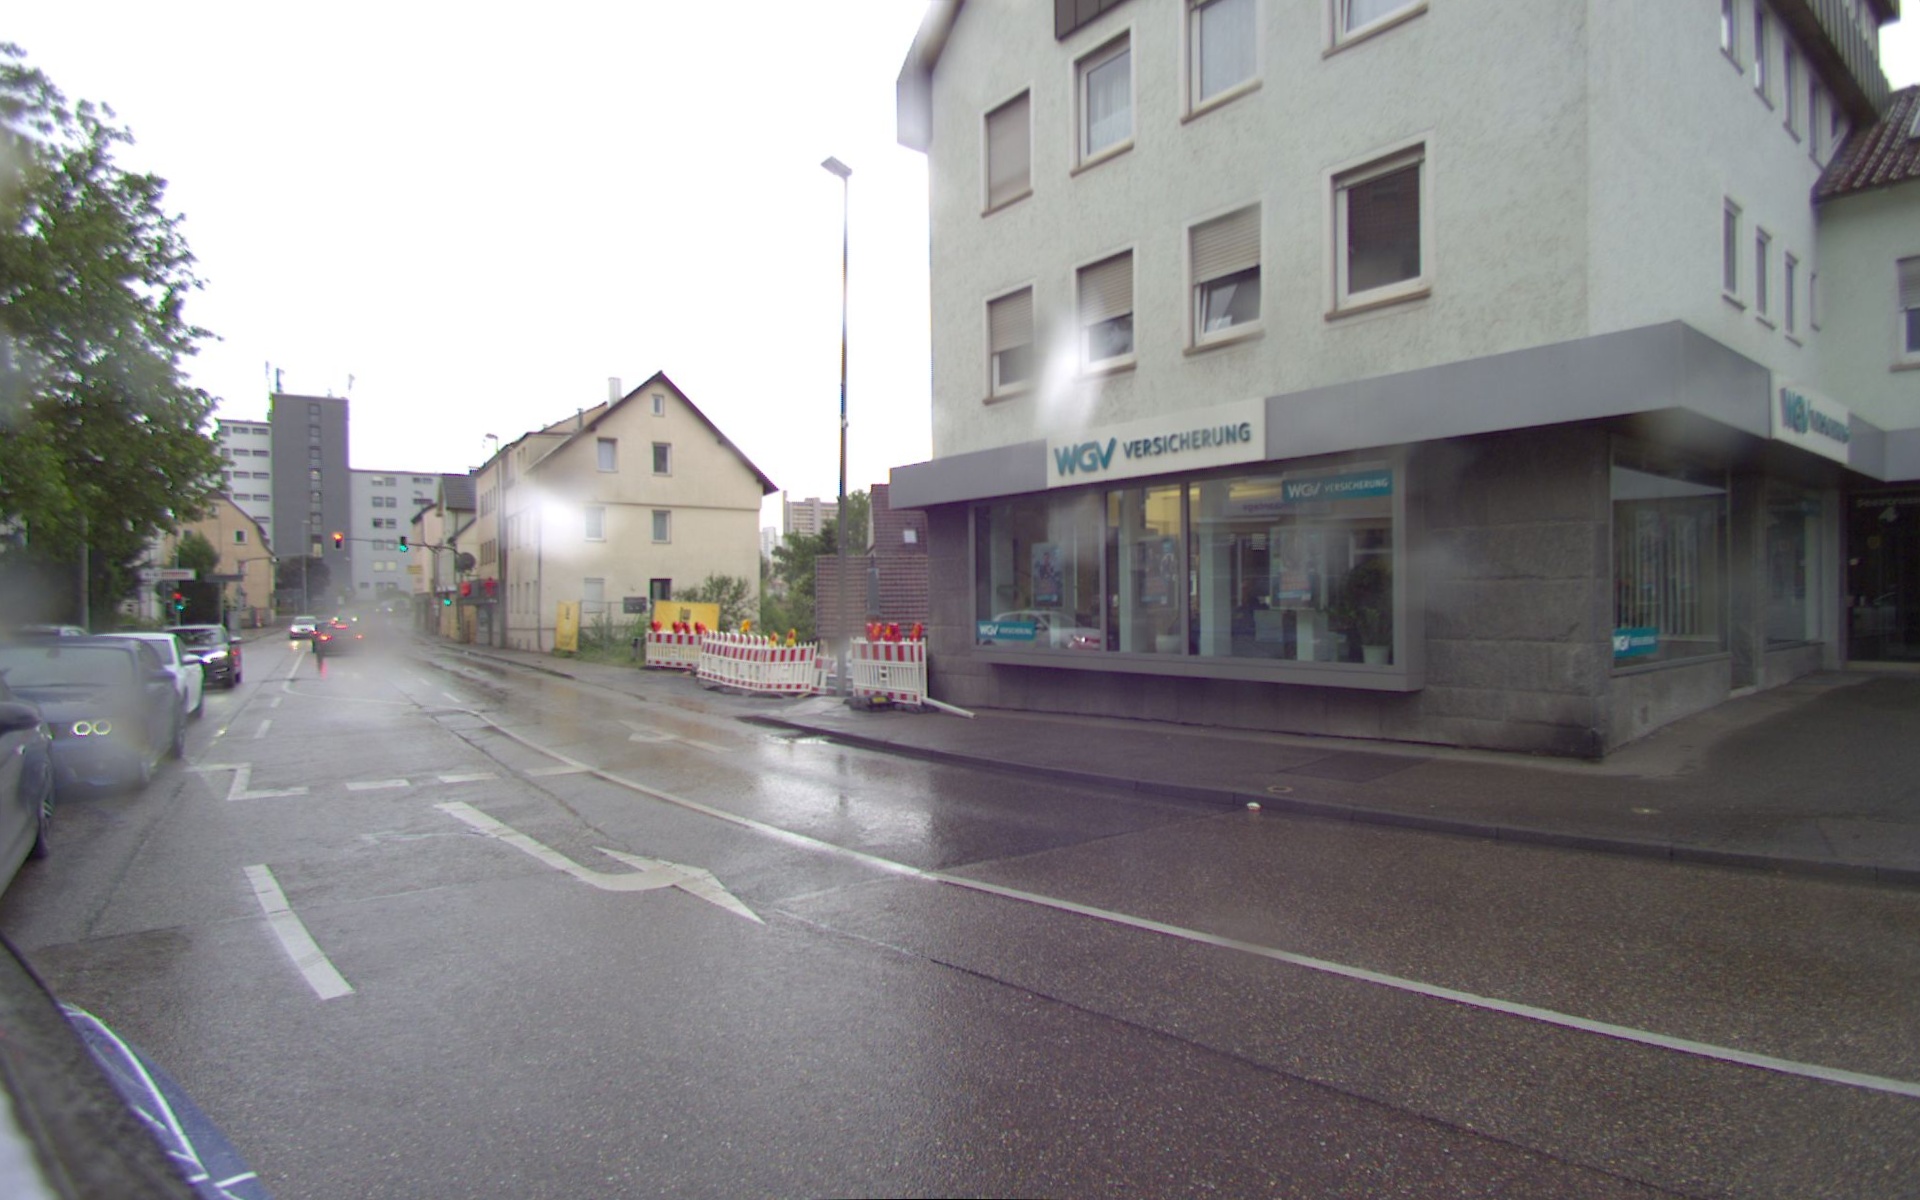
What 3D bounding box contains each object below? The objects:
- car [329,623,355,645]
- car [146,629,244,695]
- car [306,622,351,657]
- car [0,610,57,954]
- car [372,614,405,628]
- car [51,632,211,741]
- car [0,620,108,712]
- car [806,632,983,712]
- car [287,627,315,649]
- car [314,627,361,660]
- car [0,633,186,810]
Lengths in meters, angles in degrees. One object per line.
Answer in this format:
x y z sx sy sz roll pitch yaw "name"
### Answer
-56.742 3.086 92.900 1.763 1.866 3.848 -1 -1 -28 "car"
-19.425 1.510 25.818 1.659 1.472 4.011 -1 -1 -33 "car"
-32.029 1.977 51.257 1.791 1.657 4.287 -1 -1 -34 "car"
-5.653 0.879 4.764 1.792 1.583 4.284 -1 -1 -38 "car"
-63.795 2.329 113.061 1.767 1.577 3.839 -1 -1 -5 "car"
-12.915 1.249 15.966 1.660 1.432 4.010 -1 -1 -35 "car"
-20.090 1.362 21.759 1.904 1.794 4.748 0 -2 -30 "car"
-1.361 1.587 21.743 3.456 1.401 1.653 10 -10 -41 "car"
-47.119 2.704 72.401 1.589 1.515 3.728 -2 0 -32 "car"
-28.282 1.940 45.952 1.684 1.394 3.679 -1 -1 -33 "car"
-8.850 1.049 9.968 1.615 1.443 3.816 1 -2 -33 "car"
